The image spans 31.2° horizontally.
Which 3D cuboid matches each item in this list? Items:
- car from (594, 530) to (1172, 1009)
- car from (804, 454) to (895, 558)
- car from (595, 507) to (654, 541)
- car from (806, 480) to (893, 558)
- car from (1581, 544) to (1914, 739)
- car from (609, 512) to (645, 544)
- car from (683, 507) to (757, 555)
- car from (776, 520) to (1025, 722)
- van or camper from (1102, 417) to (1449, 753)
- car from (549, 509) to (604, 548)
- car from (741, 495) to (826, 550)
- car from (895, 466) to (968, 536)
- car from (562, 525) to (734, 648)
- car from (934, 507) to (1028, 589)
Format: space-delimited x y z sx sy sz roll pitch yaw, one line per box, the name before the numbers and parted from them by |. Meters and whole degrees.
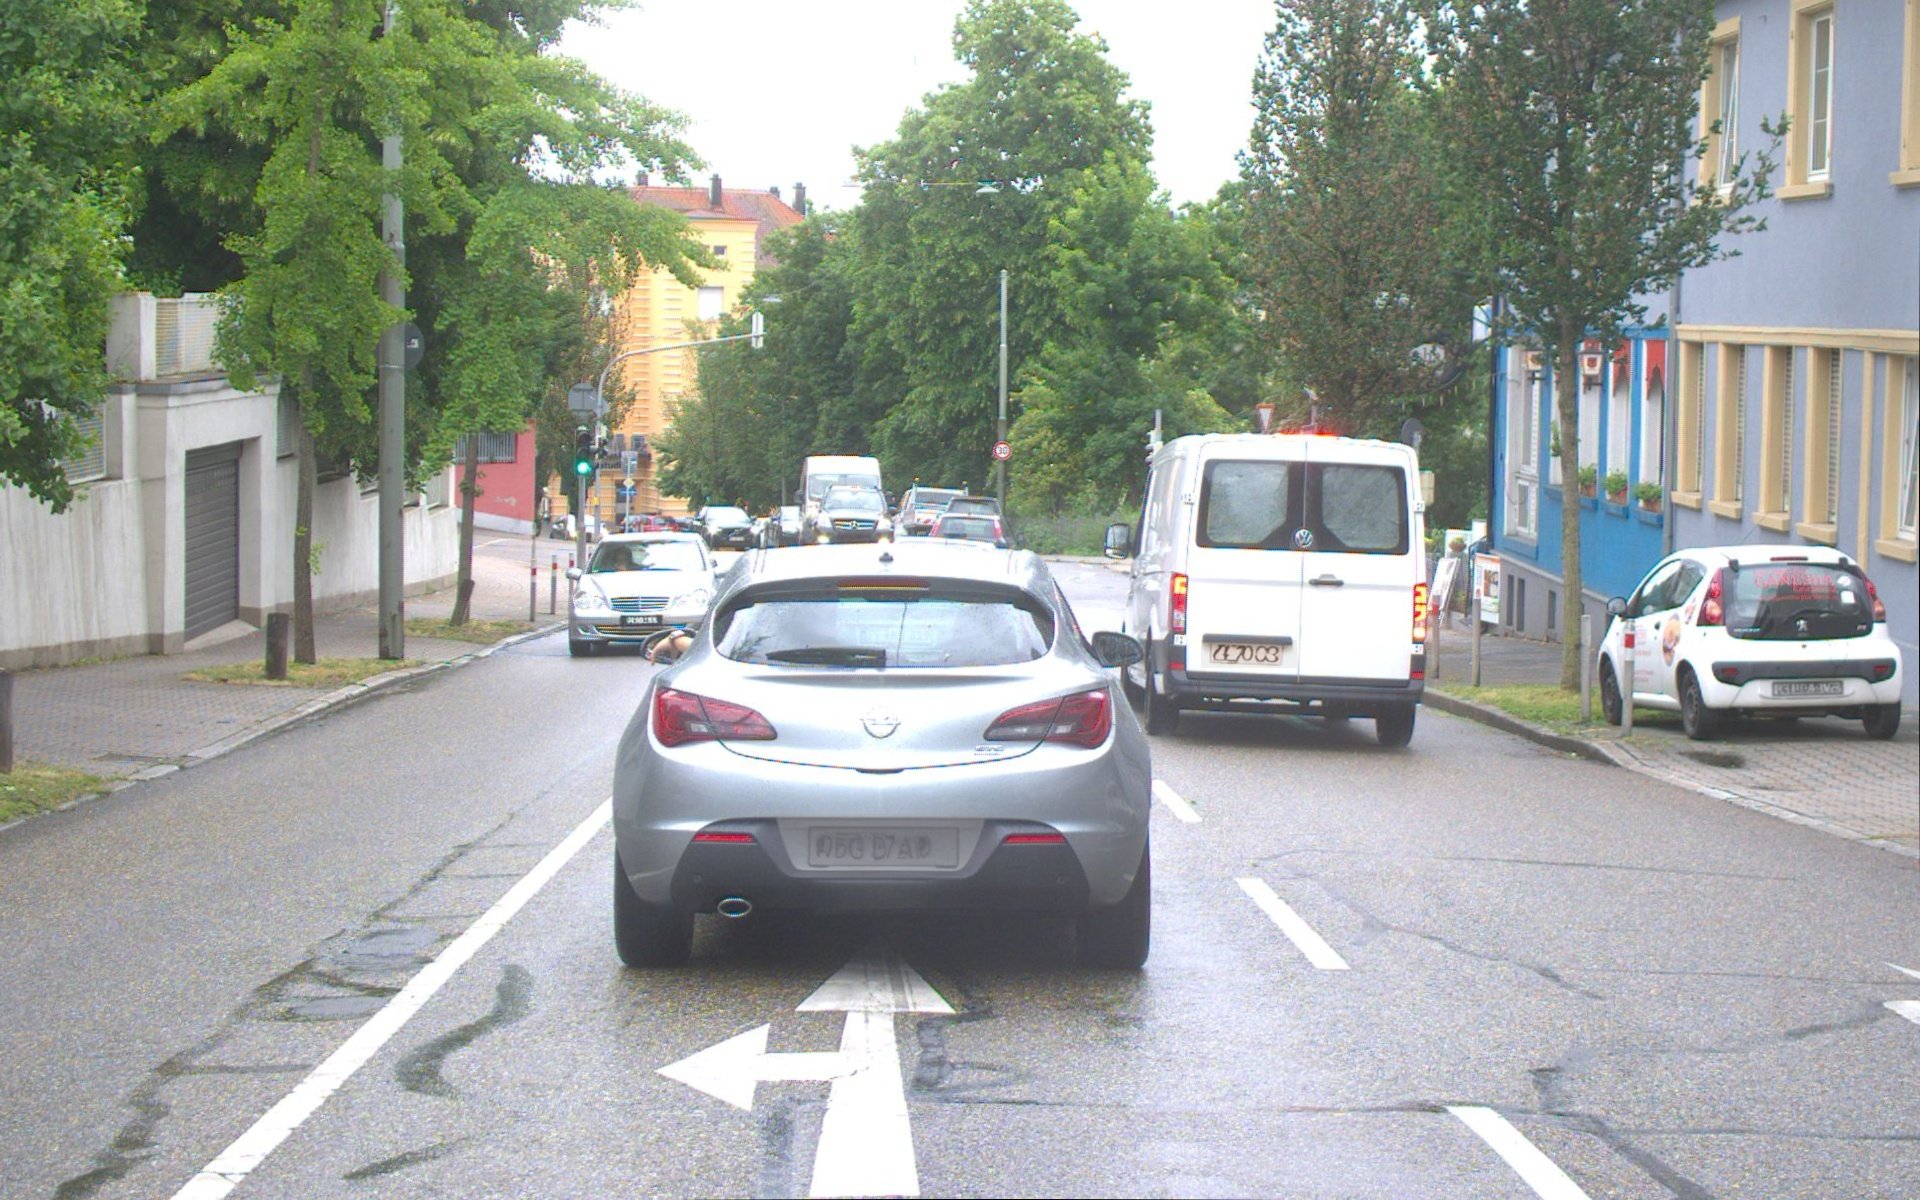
car | -0.271 0.506 13.030 1.815 1.425 4.001 2 2 -1
car | -2.865 -2.386 87.902 2.117 2.537 5.541 1 1 -4
car | -16.016 -3.629 163.830 1.814 1.462 4.001 -4 2 -19
car | -2.544 -1.877 78.398 1.821 1.646 4.347 2 2 -3
car | 6.145 0.277 27.176 1.586 1.407 3.457 0 1 -5
car | -16.839 -3.648 173.960 1.776 1.425 3.787 2 2 -5
car | -8.221 -2.352 117.489 1.874 1.569 4.587 1 1 -12
car | -0.450 0.106 26.595 1.776 1.425 3.786 -1 1 -1
van or camper | 2.384 -0.173 27.477 2.103 2.318 5.418 3 1 -1
car | -15.883 -2.956 142.234 1.773 1.492 4.264 2 0 -12
car | -5.275 -2.300 102.255 1.874 1.569 4.587 1 1 -11
car | -0.828 -2.768 97.010 1.781 1.848 4.001 1 0 -4
car | -3.689 -0.199 41.241 1.719 1.380 4.285 0 1 -1
car | 0.382 -0.972 65.000 1.620 1.481 3.436 1 1 -2
